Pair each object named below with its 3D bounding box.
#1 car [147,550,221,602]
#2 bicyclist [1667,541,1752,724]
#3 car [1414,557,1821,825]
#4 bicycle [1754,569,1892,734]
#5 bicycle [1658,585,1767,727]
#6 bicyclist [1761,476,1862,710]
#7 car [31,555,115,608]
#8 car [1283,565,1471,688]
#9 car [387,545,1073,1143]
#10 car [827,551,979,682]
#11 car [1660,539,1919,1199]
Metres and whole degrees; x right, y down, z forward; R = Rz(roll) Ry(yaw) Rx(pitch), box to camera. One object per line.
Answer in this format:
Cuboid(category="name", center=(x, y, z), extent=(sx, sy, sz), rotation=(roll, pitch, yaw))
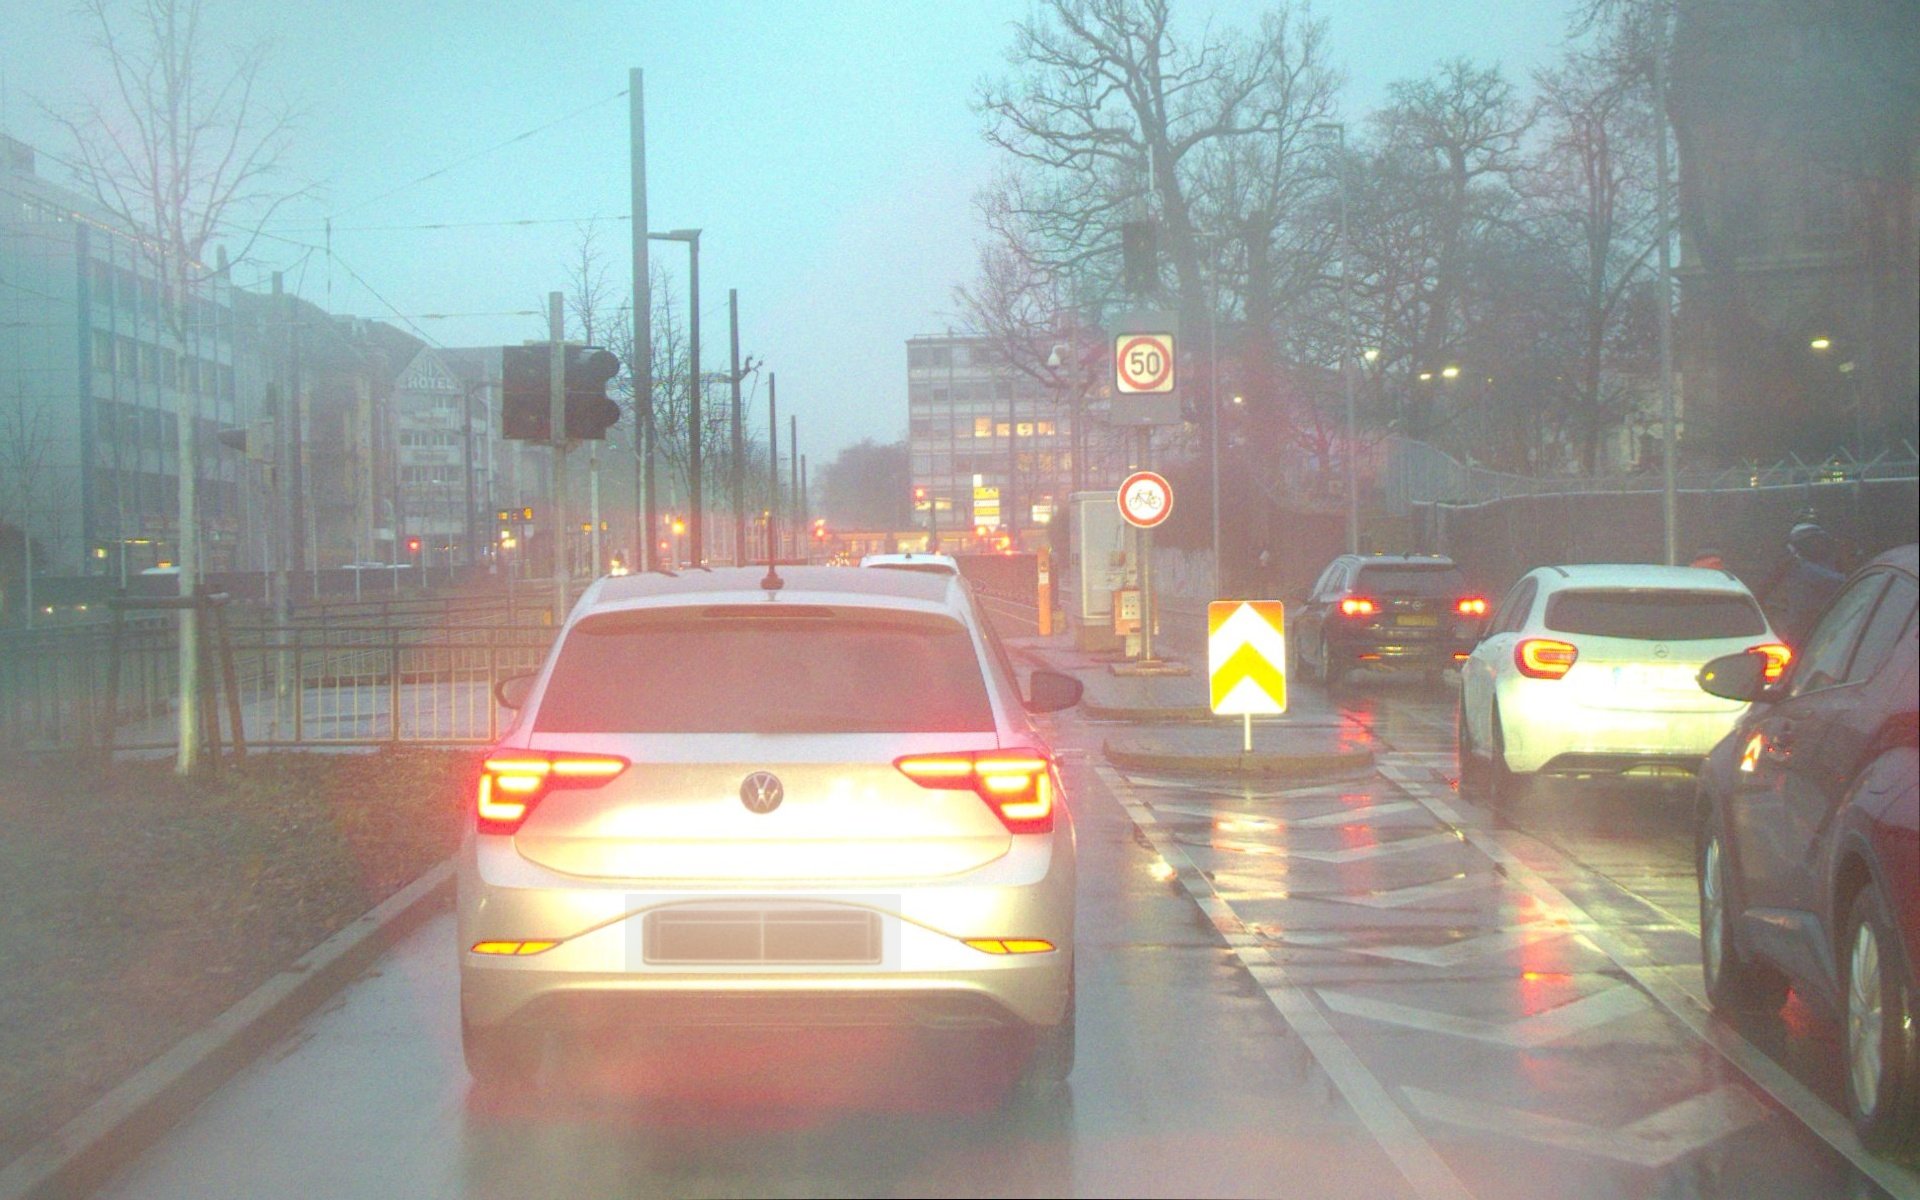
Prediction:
Cuboid(category="car", center=(-30.400, -0.957, 134.824), extent=(1.993, 1.926, 4.913), rotation=(-2, 1, -4))
Cuboid(category="bicyclist", center=(6.644, 0.276, 30.501), extent=(0.500, 1.586, 0.837), rotation=(-1, 1, -3))
Cuboid(category="car", center=(3.940, 0.504, 21.216), extent=(1.722, 1.474, 4.000), rotation=(1, 0, 0))
Cuboid(category="bicycle", center=(6.579, 0.369, 26.286), extent=(0.411, 1.181, 2.029), rotation=(-1, 1, -3))
Cuboid(category="bicycle", center=(6.660, 0.480, 30.491), extent=(0.411, 1.181, 1.948), rotation=(-1, 1, -3))
Cuboid(category="bicyclist", center=(6.523, -0.061, 26.349), extent=(0.500, 1.761, 0.837), rotation=(-1, 1, -3))
Cuboid(category="car", center=(-30.291, -0.651, 117.524), extent=(1.993, 1.687, 4.112), rotation=(-2, 1, -4))
Cuboid(category="car", center=(4.662, 0.279, 38.892), extent=(1.623, 1.295, 4.000), rotation=(1, 0, 0))
Cuboid(category="car", center=(-0.588, 0.589, 10.729), extent=(1.722, 1.474, 4.000), rotation=(1, 1, 0))
Cuboid(category="car", center=(-0.656, 0.184, 41.520), extent=(1.722, 1.474, 4.000), rotation=(1, 0, 0))
Cuboid(category="car", center=(3.072, 0.608, 9.533), extent=(1.722, 1.474, 3.999), rotation=(1, 0, 5))
